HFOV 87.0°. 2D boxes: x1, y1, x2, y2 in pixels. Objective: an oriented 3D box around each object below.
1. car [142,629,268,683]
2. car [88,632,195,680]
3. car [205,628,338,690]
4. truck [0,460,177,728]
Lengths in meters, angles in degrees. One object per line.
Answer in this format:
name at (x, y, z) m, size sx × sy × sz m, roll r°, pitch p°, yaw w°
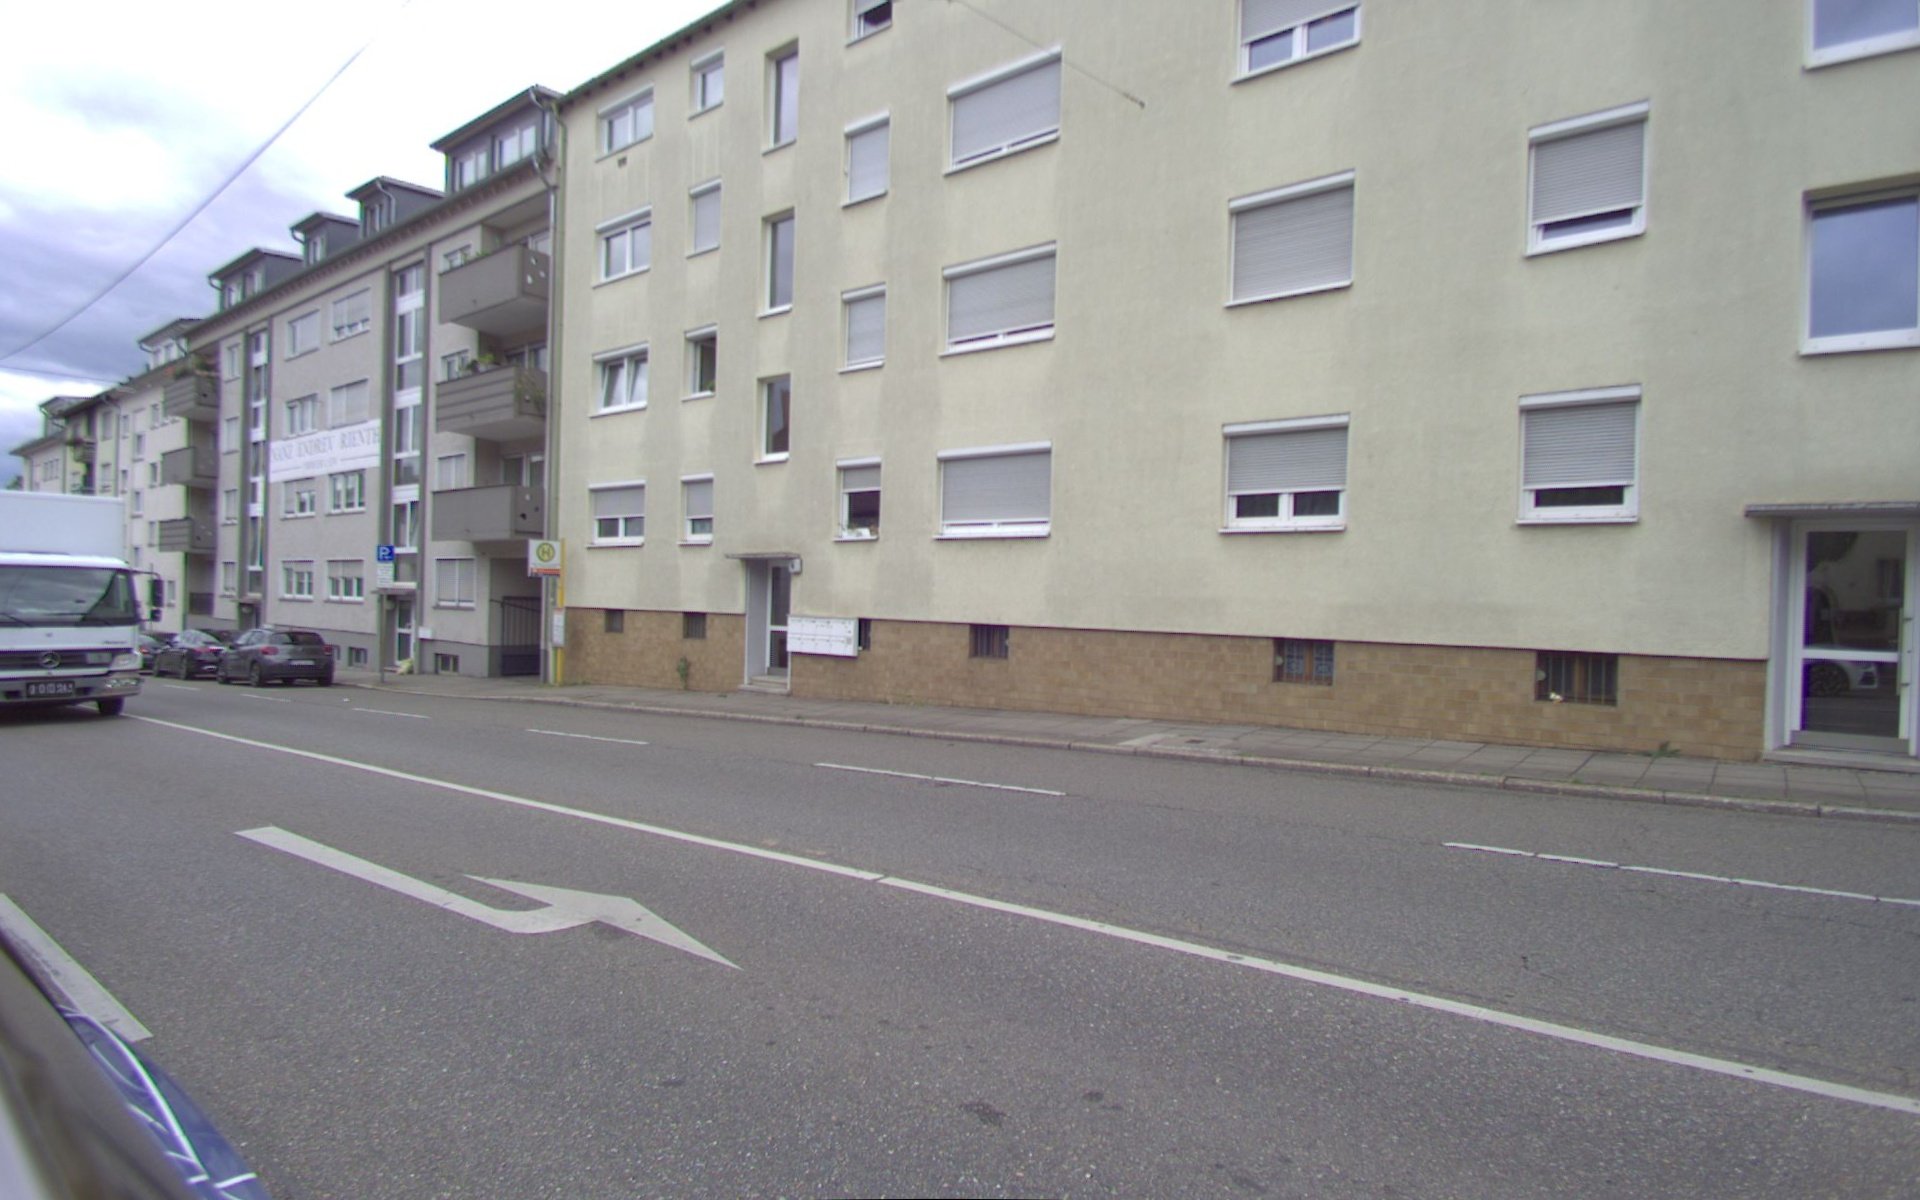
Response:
car at (-22.081, 1.604, 29.526) m, size 4.712 × 1.416 × 1.751 m, roll -1°, pitch -4°, yaw 39°
car at (-26.569, 1.795, 32.814) m, size 4.302 × 1.416 × 1.751 m, roll -1°, pitch -4°, yaw 39°
car at (-17.796, 1.493, 26.118) m, size 3.797 × 1.447 × 1.751 m, roll -1°, pitch -4°, yaw 39°
truck at (-15.766, 0.018, 16.491) m, size 8.049 × 3.602 × 2.743 m, roll -2°, pitch -1°, yaw 37°
